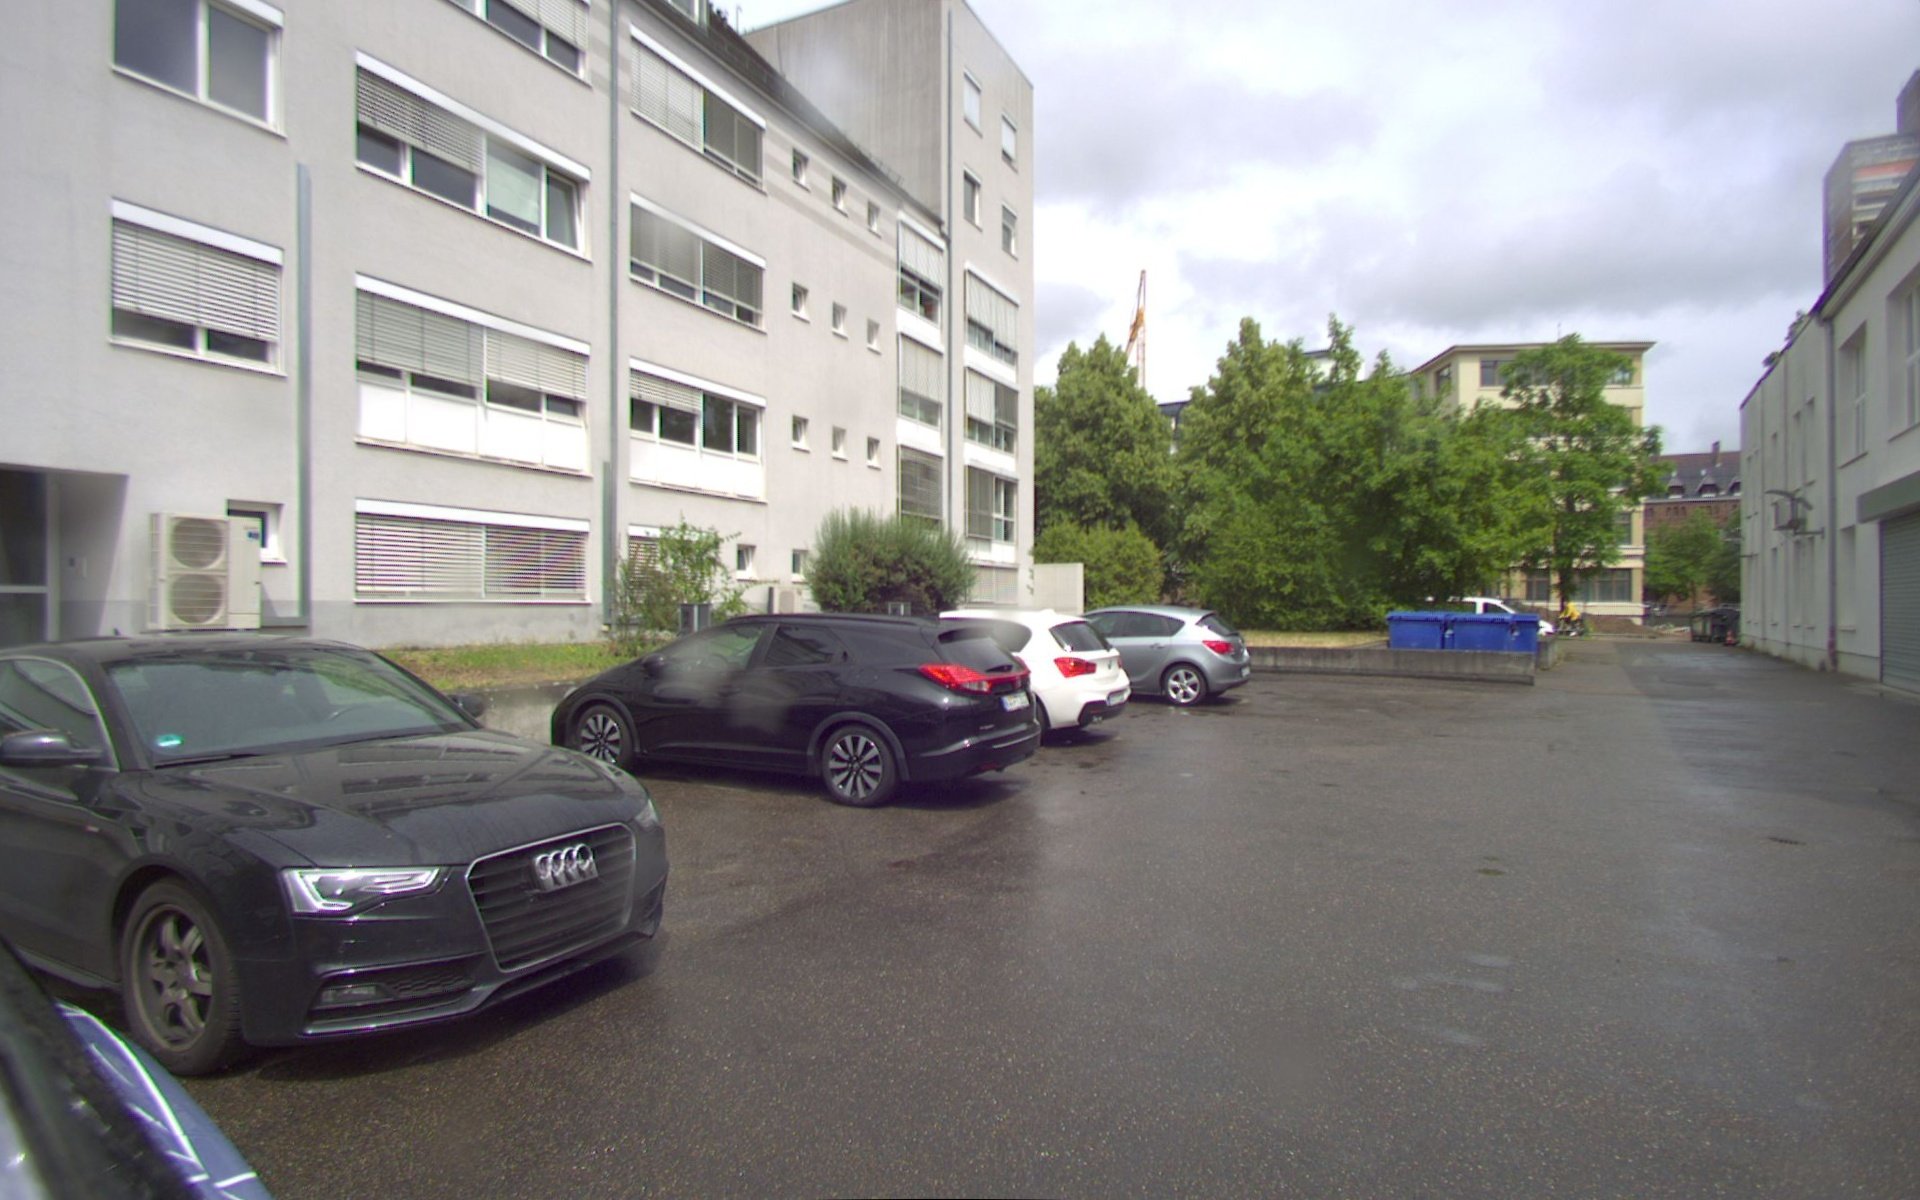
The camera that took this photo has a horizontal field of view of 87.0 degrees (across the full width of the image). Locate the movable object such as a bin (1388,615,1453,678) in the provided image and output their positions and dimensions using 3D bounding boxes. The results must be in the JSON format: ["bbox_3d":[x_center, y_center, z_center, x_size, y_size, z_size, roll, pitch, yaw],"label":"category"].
[{"bbox_3d":[10.390,1.023,22.828,1.129,1.338,1.194,-1,0,35],"label":"movable object such as a bin"}]

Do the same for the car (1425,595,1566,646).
[{"bbox_3d":[19.561,0.739,37.042,4.327,1.740,1.701,-1,0,37],"label":"car"}]

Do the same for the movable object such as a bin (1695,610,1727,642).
[{"bbox_3d":[33.083,1.149,44.582,1.064,1.366,1.249,-1,0,35],"label":"movable object such as a bin"}]

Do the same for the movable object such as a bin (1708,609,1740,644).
[{"bbox_3d":[30.648,1.049,40.605,0.976,1.366,0.908,-1,-1,35],"label":"movable object such as a bin"}]

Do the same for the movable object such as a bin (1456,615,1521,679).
[{"bbox_3d":[11.546,1.008,22.099,1.093,1.335,1.194,-1,0,35],"label":"movable object such as a bin"}]

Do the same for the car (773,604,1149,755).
[{"bbox_3d":[-0.027,0.799,11.838,4.105,1.453,1.681,1,0,28],"label":"car"}]

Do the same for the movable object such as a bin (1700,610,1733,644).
[{"bbox_3d":[31.484,1.126,42.134,1.044,1.366,1.193,-1,0,35],"label":"movable object such as a bin"}]

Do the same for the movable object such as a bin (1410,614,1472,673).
[{"bbox_3d":[11.470,1.012,24.130,1.129,1.338,1.194,-1,0,35],"label":"movable object such as a bin"}]

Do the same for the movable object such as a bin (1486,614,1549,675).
[{"bbox_3d":[12.860,1.004,23.337,1.129,1.338,1.194,-1,0,35],"label":"movable object such as a bin"}]

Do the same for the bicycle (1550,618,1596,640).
[{"bbox_3d":[29.102,1.381,48.036,1.848,0.989,0.672,-1,0,-8],"label":"bicycle"}]

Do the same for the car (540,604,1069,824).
[{"bbox_3d":[-1.380,0.796,8.712,4.292,1.453,1.748,1,0,26],"label":"car"}]

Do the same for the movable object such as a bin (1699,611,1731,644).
[{"bbox_3d":[32.255,1.155,43.256,1.061,1.366,1.204,-1,0,35],"label":"movable object such as a bin"}]

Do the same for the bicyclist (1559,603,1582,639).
[{"bbox_3d":[28.957,0.999,48.023,0.640,1.662,0.669,-1,0,-8],"label":"bicyclist"}]

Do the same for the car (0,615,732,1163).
[{"bbox_3d":[-3.354,0.799,4.518,4.506,1.362,1.747,1,0,27],"label":"car"}]

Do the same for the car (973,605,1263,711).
[{"bbox_3d":[2.513,0.838,16.212,4.293,1.453,1.748,1,0,26],"label":"car"}]
